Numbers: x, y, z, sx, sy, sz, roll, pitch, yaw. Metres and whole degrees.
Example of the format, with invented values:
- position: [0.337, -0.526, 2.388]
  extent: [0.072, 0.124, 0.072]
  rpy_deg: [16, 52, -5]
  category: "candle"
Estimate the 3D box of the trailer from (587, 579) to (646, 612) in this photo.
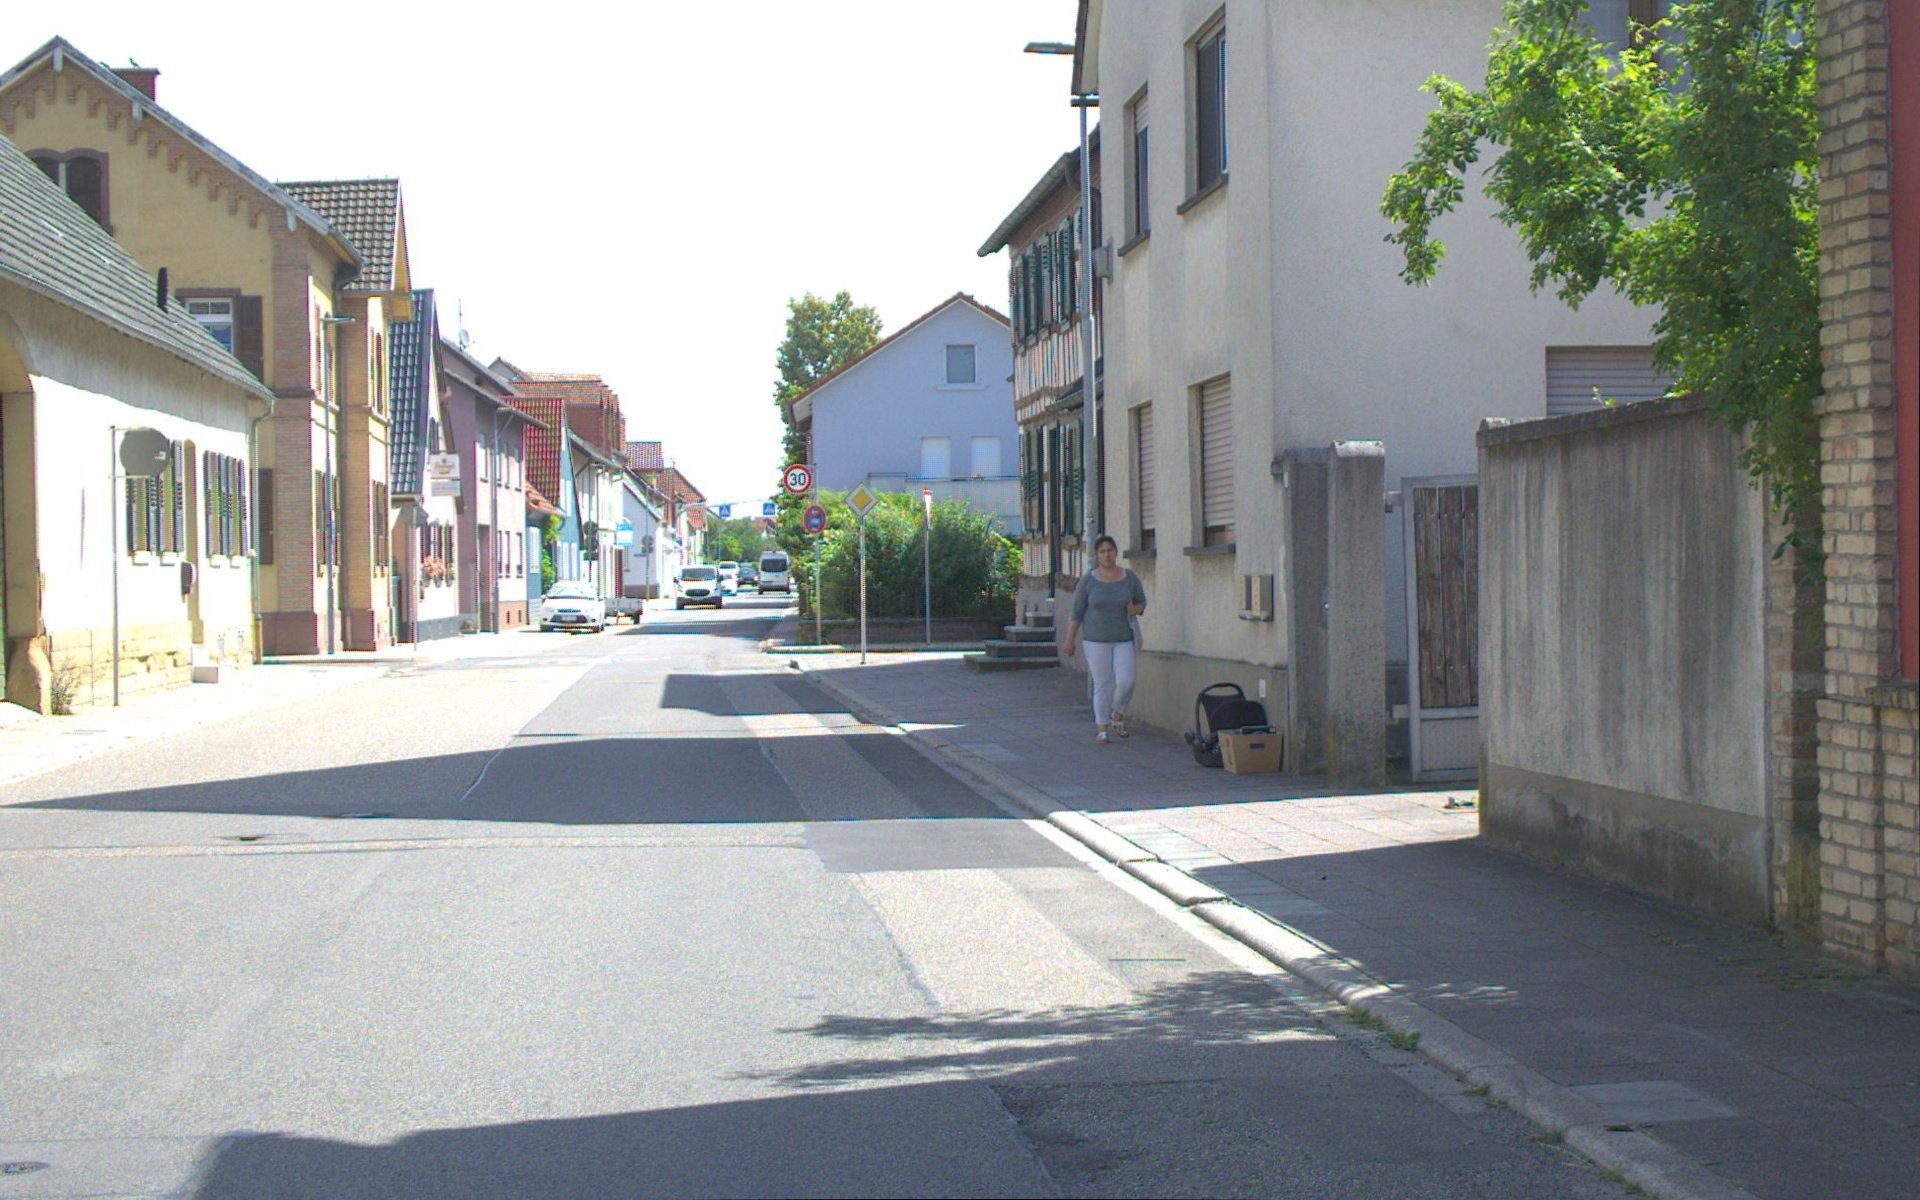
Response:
- position: [-11.945, -0.183, 119.399]
  extent: [1.993, 1.086, 4.001]
  rpy_deg: [-1, 1, -6]
  category: "trailer"

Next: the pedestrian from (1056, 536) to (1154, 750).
- position: [1.139, 0.329, 27.207]
  extent: [0.719, 1.658, 0.892]
  rpy_deg: [0, 0, -1]
  category: "pedestrian"

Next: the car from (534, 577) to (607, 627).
- position: [-11.634, 0.047, 102.846]
  extent: [1.993, 1.437, 4.001]
  rpy_deg: [-1, 0, -4]
  category: "car"

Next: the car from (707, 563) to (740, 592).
- position: [-14.237, -1.360, 206.919]
  extent: [1.993, 1.744, 4.001]
  rpy_deg: [0, 0, -4]
  category: "car"

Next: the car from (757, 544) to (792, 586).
- position: [-11.396, -2.137, 211.266]
  extent: [2.017, 2.559, 4.001]
  rpy_deg: [-1, 0, -5]
  category: "car"

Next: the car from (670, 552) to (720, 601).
- position: [-11.994, -1.051, 155.234]
  extent: [2.157, 2.073, 4.000]
  rpy_deg: [-1, -1, -5]
  category: "car"
